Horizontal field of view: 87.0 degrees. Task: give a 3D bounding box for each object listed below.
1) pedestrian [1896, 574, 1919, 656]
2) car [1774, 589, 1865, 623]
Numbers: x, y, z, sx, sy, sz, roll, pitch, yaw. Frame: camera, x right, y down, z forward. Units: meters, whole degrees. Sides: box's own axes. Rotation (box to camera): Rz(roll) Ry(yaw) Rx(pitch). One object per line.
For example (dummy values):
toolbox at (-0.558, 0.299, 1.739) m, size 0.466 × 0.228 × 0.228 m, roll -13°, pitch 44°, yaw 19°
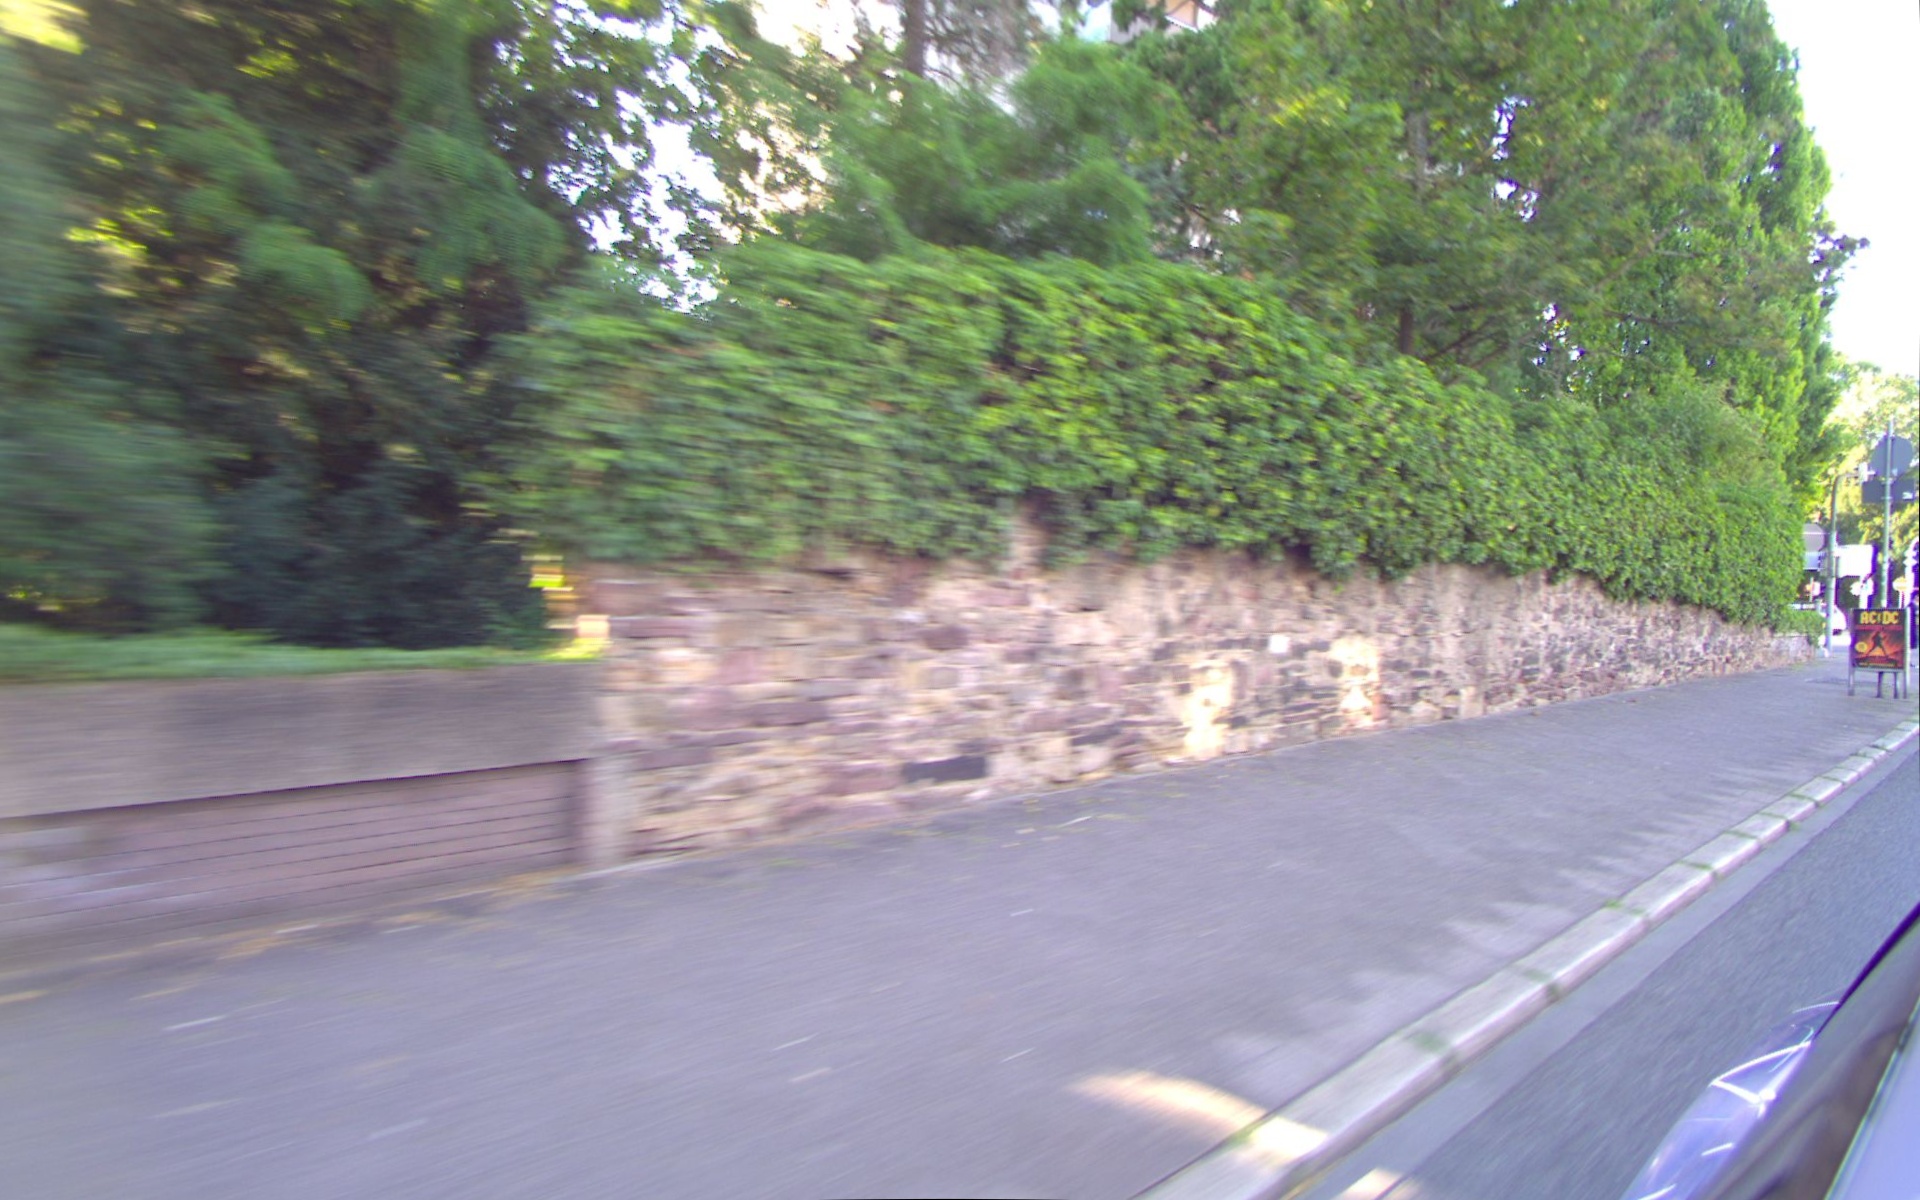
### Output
pedestrian at (20.562, 0.325, 21.709) m, size 0.601 × 1.714 × 0.603 m, roll 2°, pitch 1°, yaw -42°
car at (42.410, 0.296, 50.050) m, size 1.754 × 1.562 × 3.984 m, roll 1°, pitch 0°, yaw 13°
